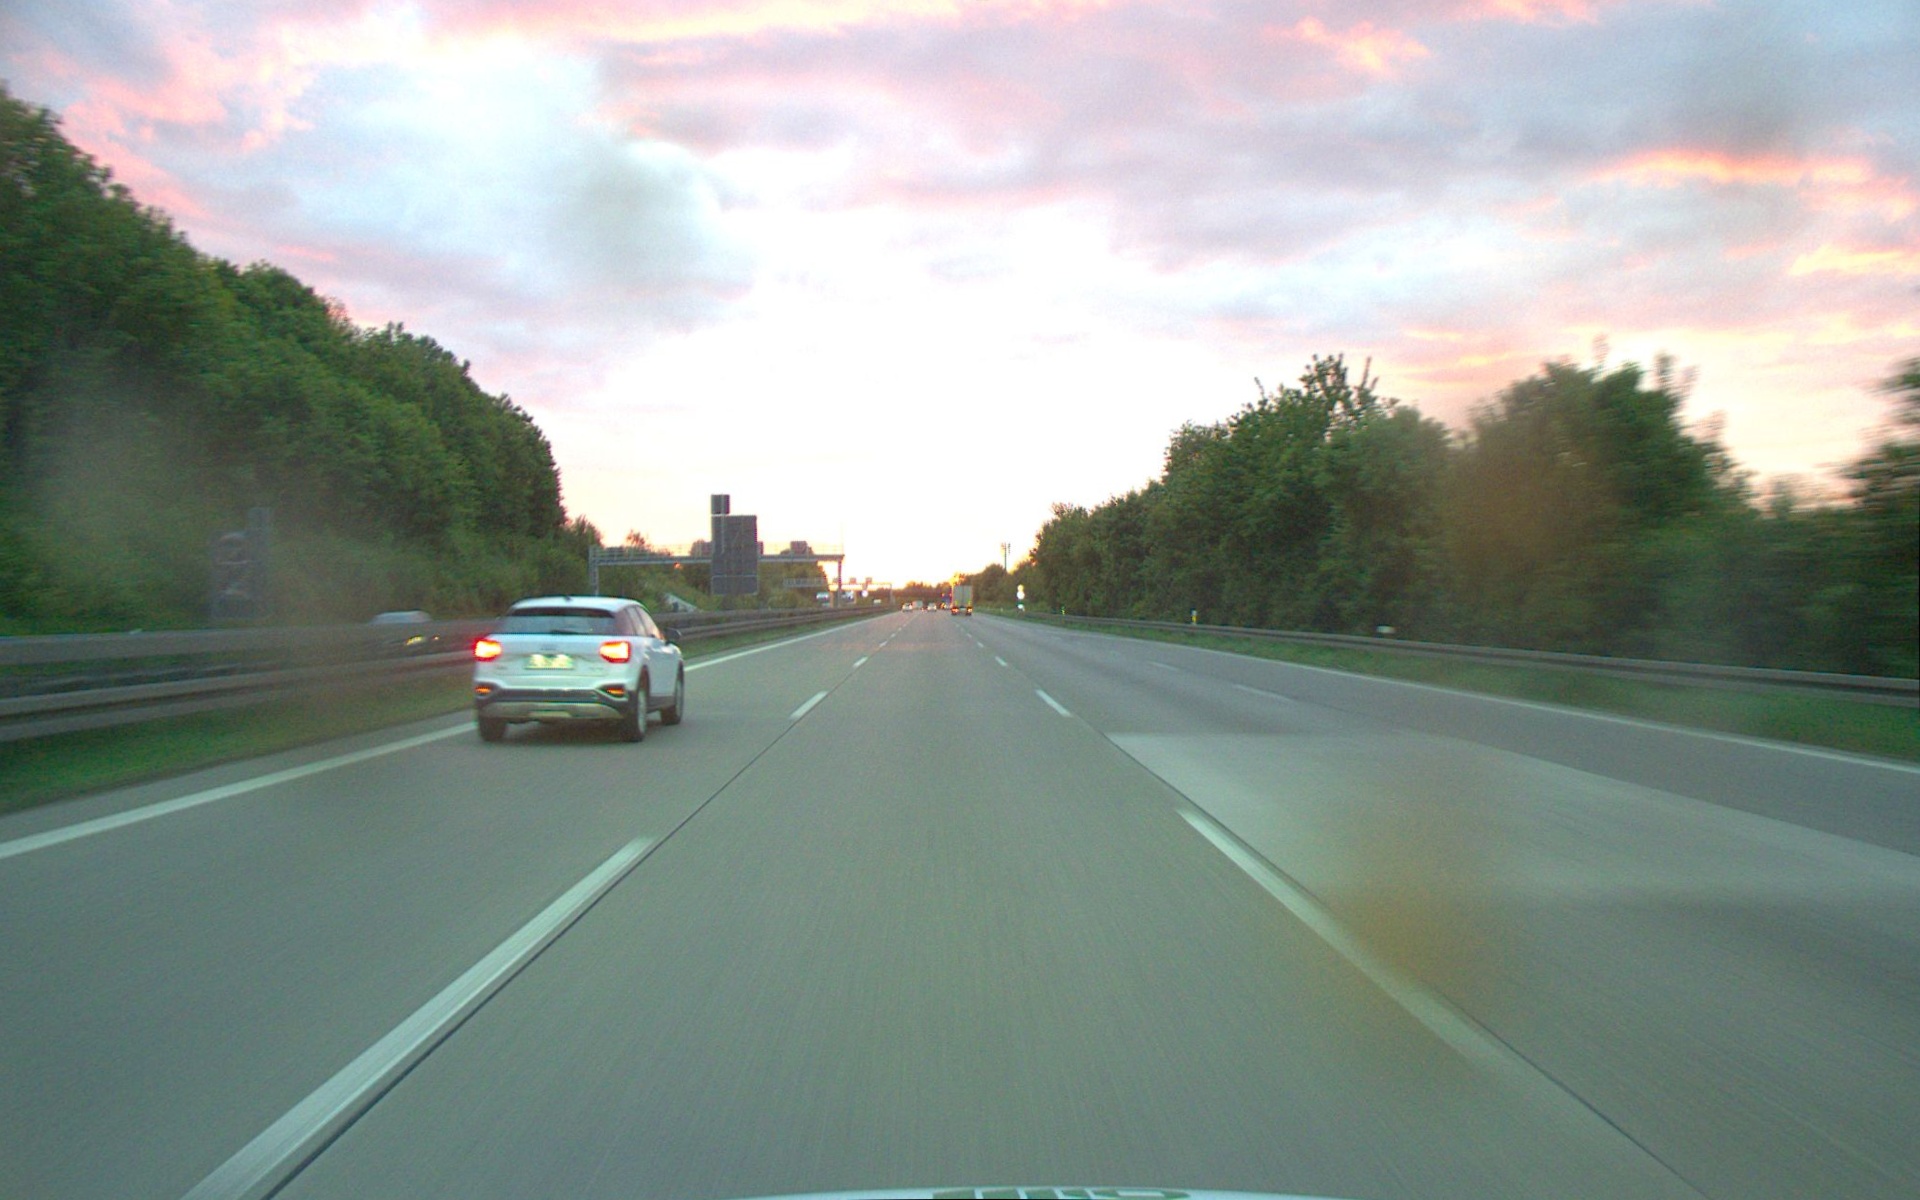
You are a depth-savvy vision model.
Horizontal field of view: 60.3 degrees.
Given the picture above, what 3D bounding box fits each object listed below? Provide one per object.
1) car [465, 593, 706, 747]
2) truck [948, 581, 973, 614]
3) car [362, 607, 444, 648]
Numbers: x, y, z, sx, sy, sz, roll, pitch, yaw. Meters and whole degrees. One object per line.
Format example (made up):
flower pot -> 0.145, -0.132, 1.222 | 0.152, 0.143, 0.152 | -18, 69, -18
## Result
car -> -4.170, 0.702, 19.247 | 1.753, 1.527, 5.036 | 1, 0, -2
truck -> 0.074, -0.340, 217.443 | 3.178, 4.199, 9.785 | -1, 0, 0
car -> -21.242, 1.015, 63.254 | 1.726, 1.507, 4.389 | 0, 0, -1
